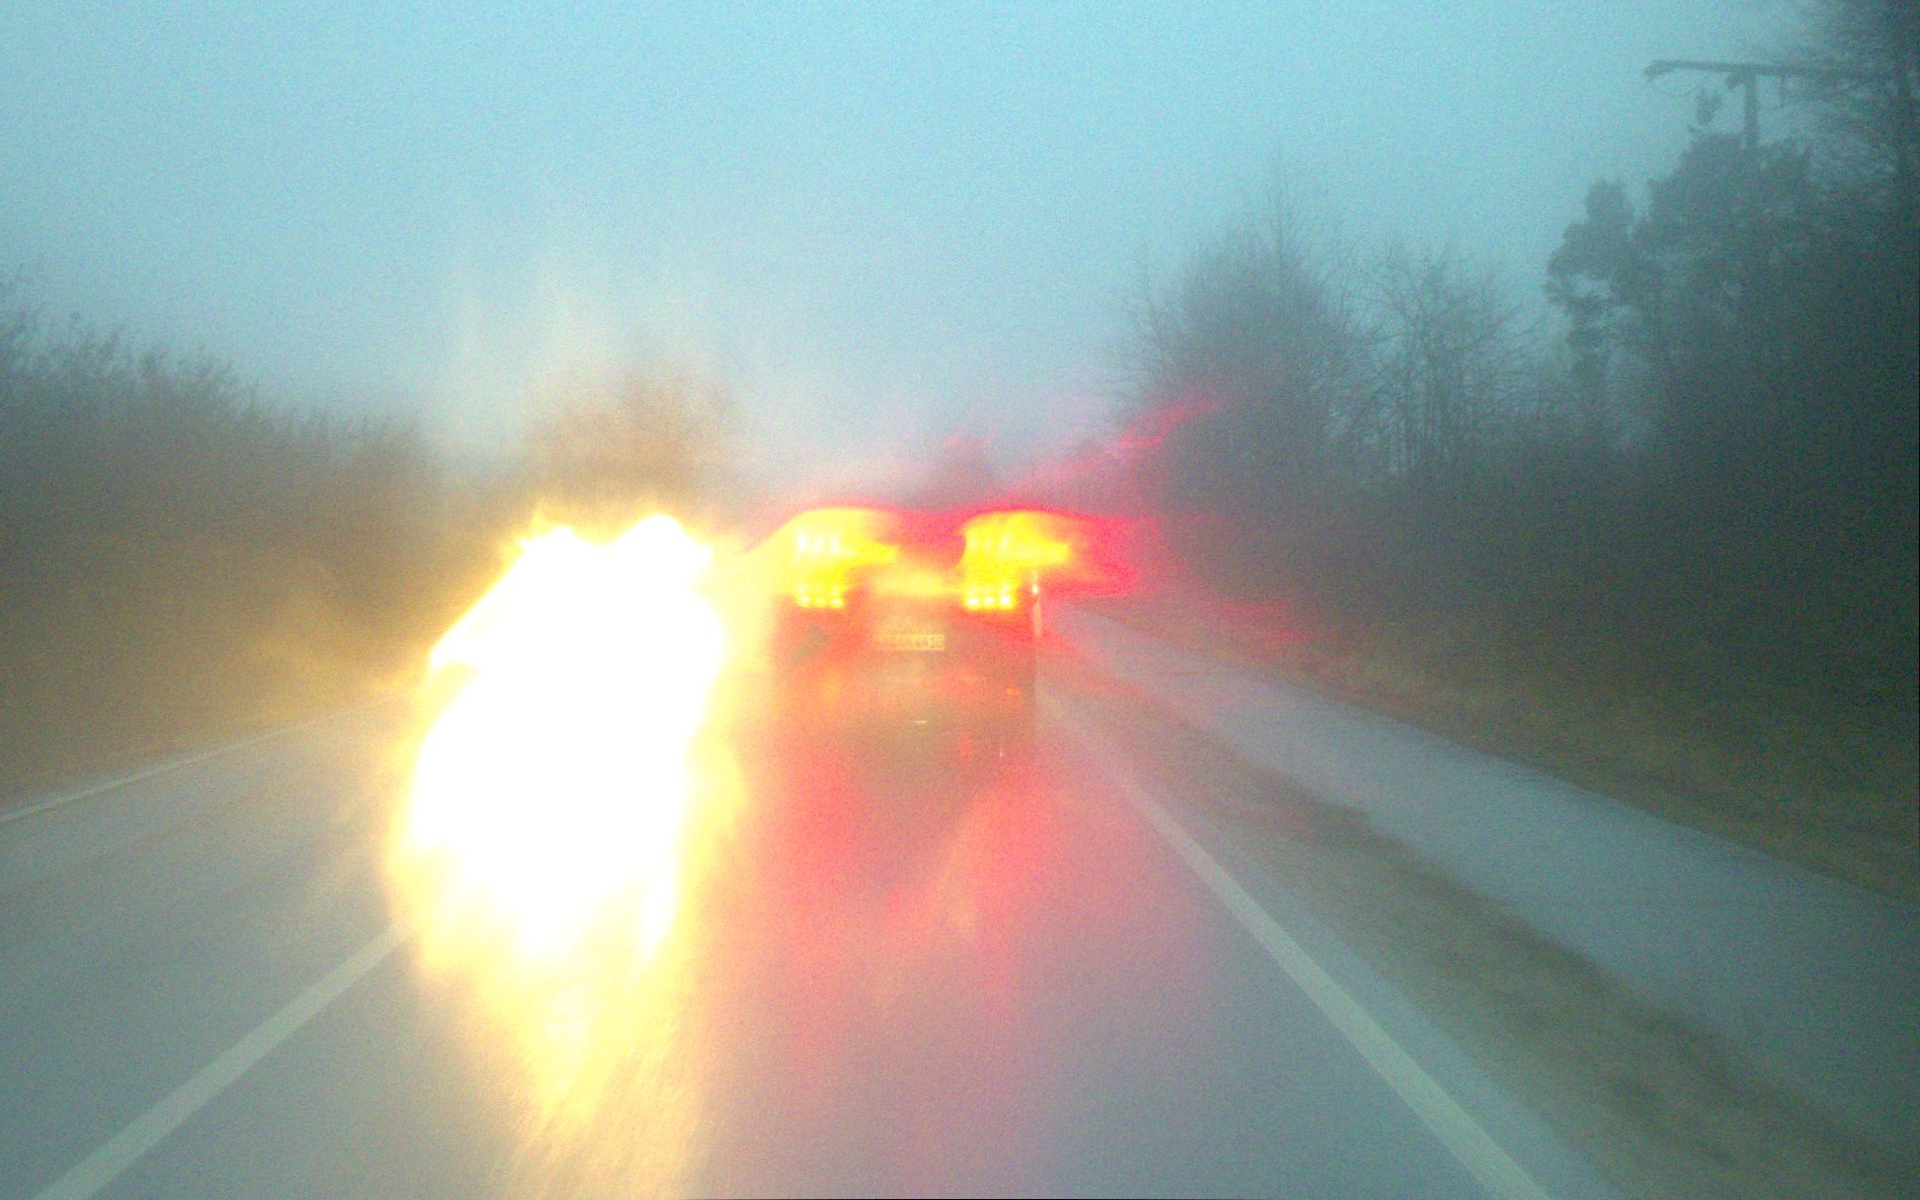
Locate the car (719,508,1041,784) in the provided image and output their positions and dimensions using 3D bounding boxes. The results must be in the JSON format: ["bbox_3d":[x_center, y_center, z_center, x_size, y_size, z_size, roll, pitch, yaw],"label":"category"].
[{"bbox_3d":[-0.575,0.260,25.240,2.120,1.813,4.980,0,1,-1],"label":"car"}]

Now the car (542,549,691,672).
[{"bbox_3d":[-4.829,0.113,48.718,1.767,1.593,4.000,-2,1,-2],"label":"car"}]
